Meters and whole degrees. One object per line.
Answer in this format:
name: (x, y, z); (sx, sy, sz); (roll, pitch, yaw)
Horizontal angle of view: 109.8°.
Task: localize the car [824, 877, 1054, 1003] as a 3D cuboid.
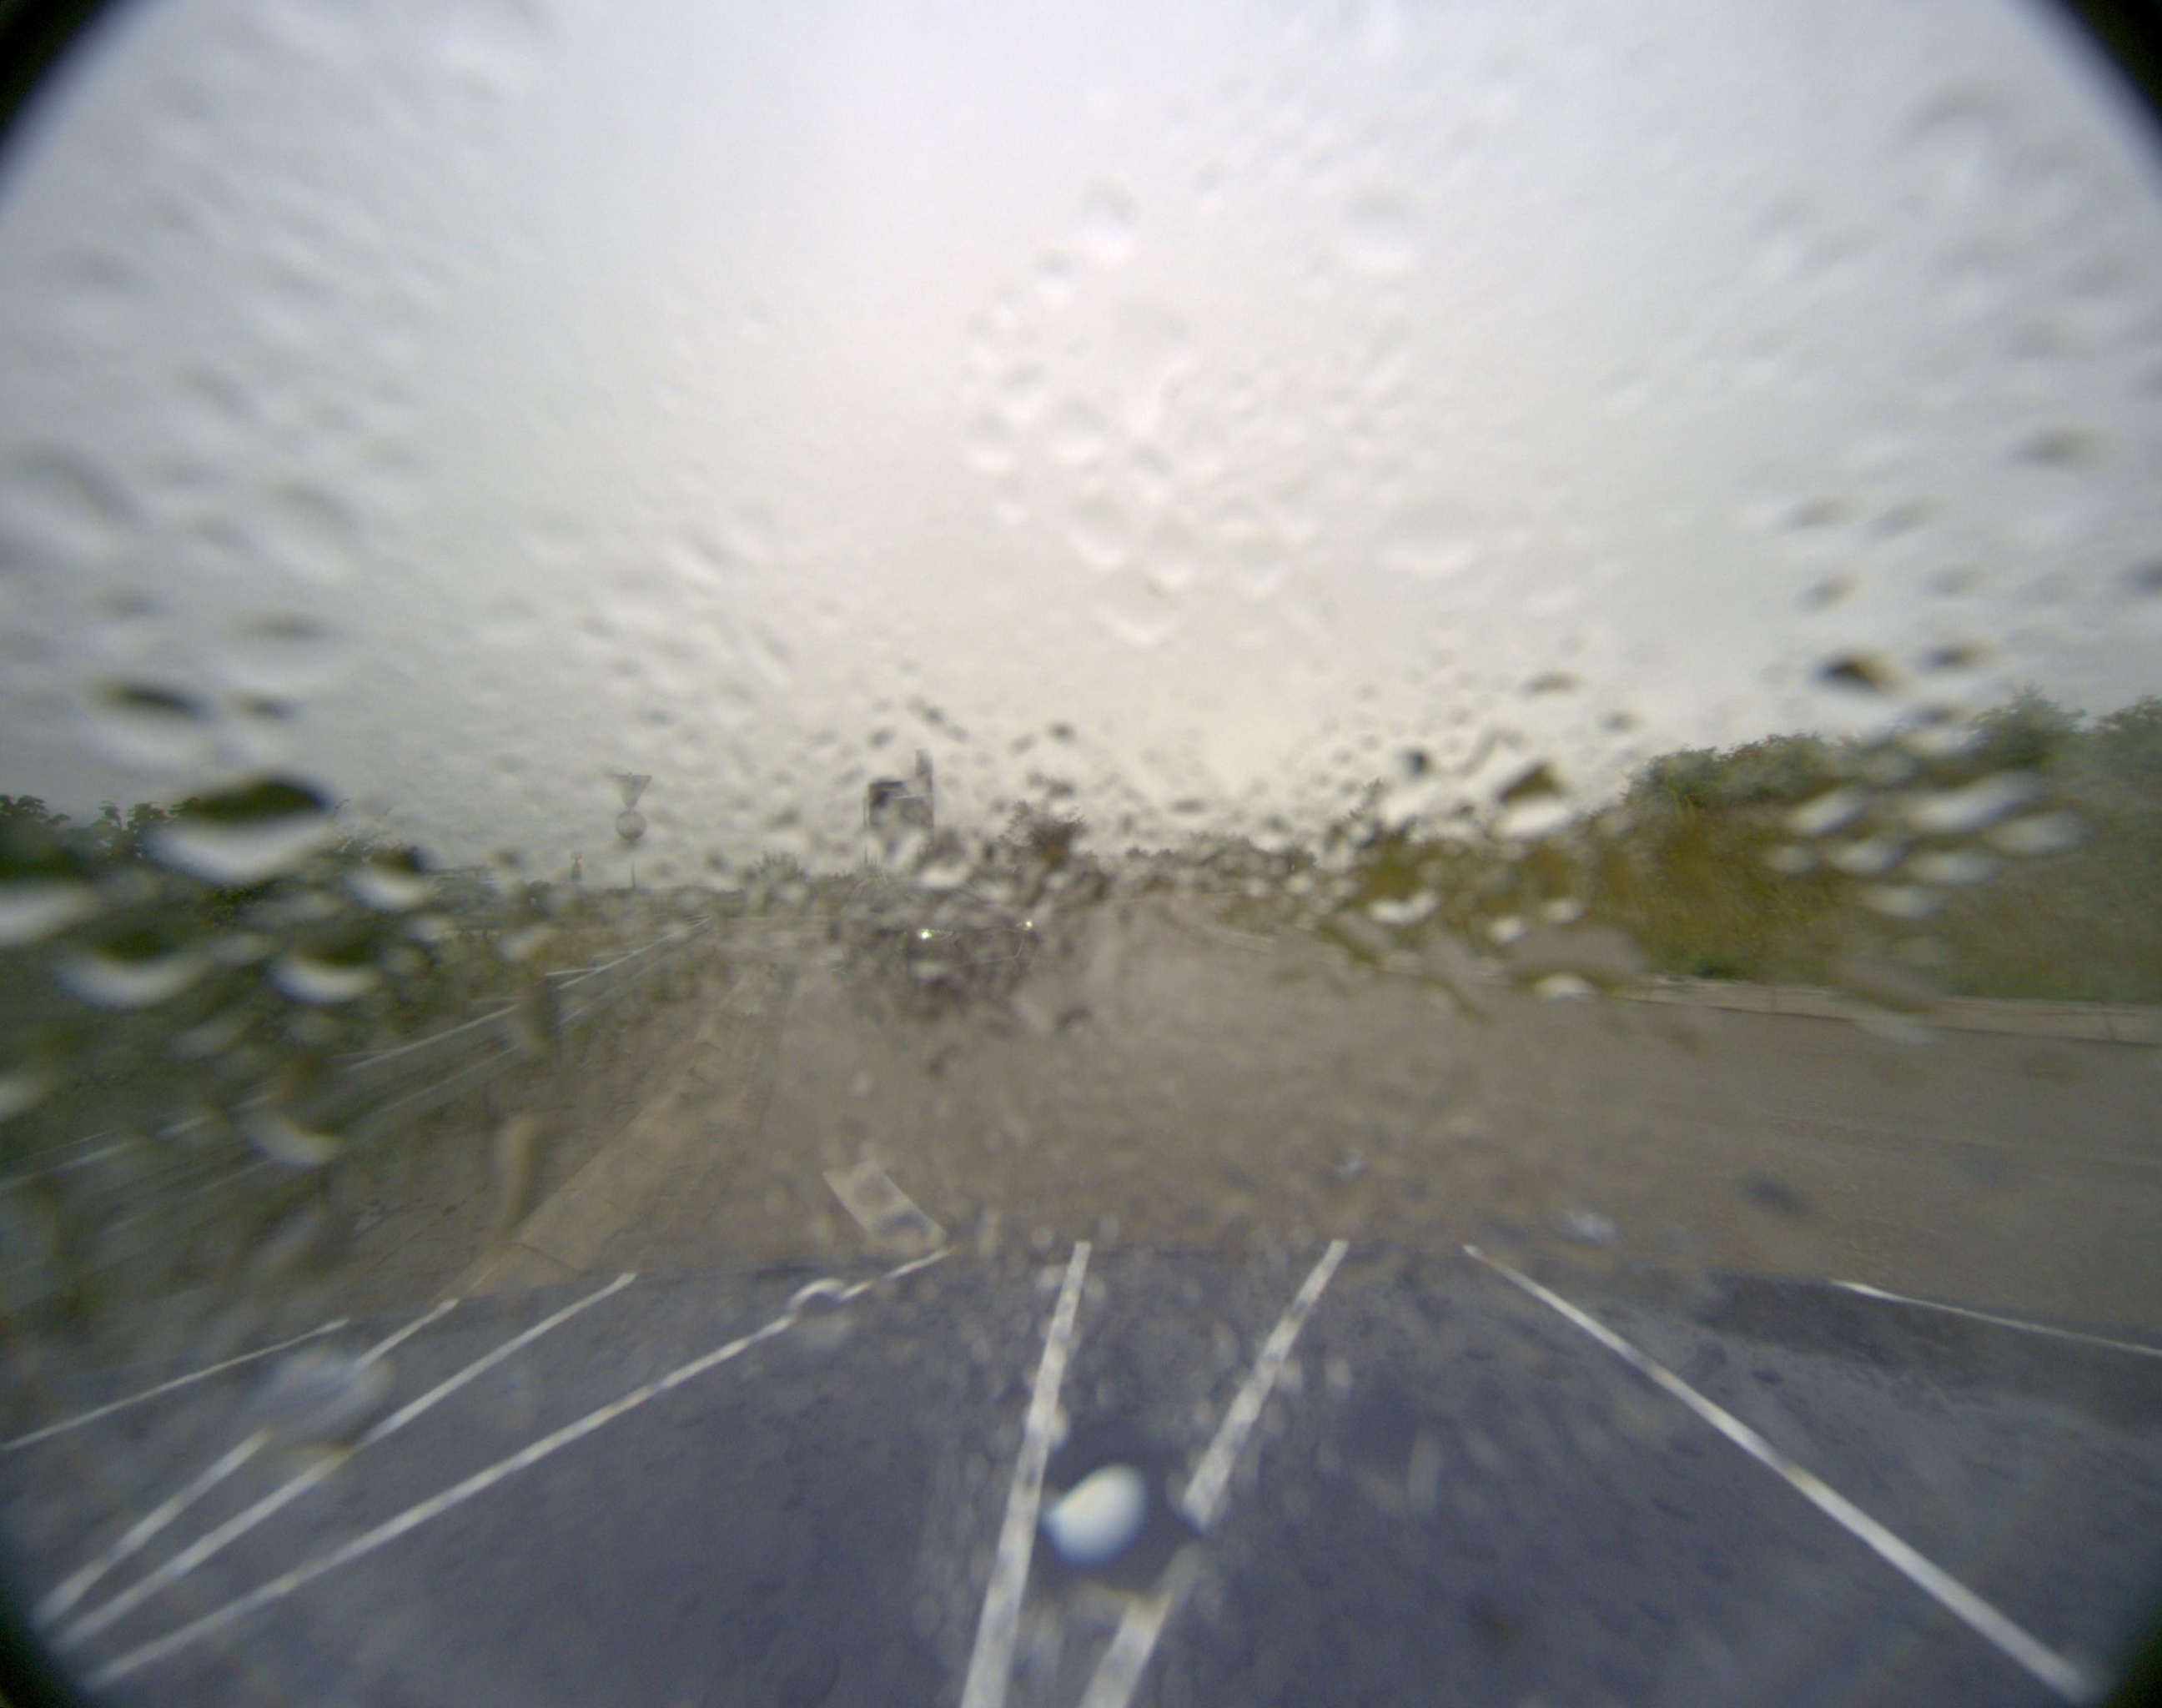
car: (-2.358, 1.113, 11.418); (1.913, 1.361, 4.555); (-4, 0, -30)
